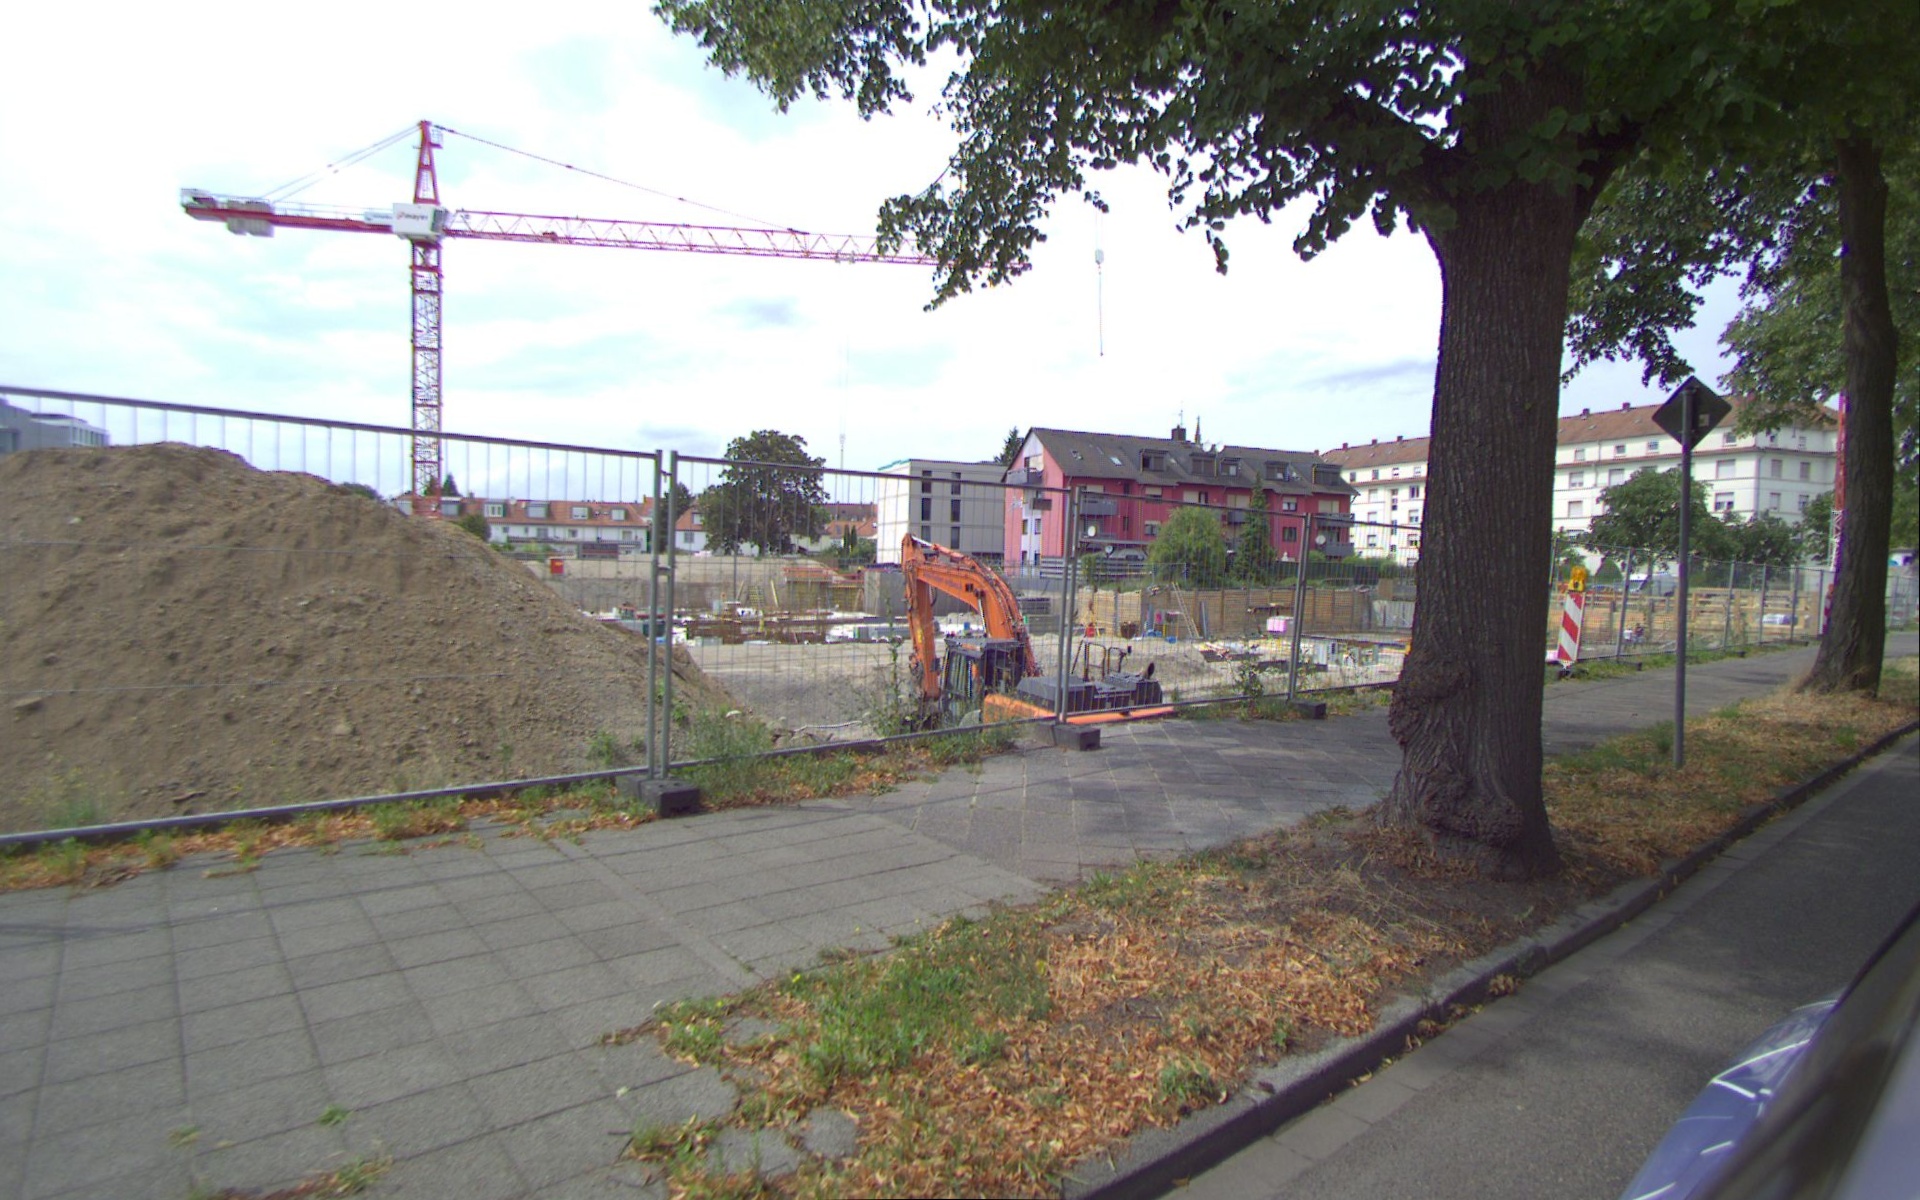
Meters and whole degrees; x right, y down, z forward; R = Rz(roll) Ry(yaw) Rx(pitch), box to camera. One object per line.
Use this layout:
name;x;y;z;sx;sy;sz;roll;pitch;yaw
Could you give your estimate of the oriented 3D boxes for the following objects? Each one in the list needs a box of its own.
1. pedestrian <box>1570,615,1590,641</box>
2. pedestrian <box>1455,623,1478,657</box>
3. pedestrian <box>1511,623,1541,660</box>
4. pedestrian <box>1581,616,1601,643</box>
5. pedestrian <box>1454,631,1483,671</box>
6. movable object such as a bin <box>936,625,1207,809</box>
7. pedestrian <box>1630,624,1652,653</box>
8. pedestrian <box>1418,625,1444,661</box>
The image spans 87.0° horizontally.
pedestrian;43.499;1.985;70.987;0.706;1.742;0.846;2;3;-3
pedestrian;27.052;2.123;54.016;0.707;1.742;0.845;2;3;2
pedestrian;29.028;2.118;51.896;0.965;1.742;0.845;2;3;2
pedestrian;44.404;2.069;71.241;0.706;1.742;0.846;2;3;-3
pedestrian;23.354;2.342;46.477;0.705;1.742;0.847;1;3;-24
movable object such as a bin;1.943;2.002;19.485;3.068;2.621;4.709;1;3;-26
pedestrian;43.429;2.455;64.512;0.706;1.742;0.846;2;3;-3
pedestrian;23.643;2.159;50.830;0.828;1.742;0.722;2;3;-6
